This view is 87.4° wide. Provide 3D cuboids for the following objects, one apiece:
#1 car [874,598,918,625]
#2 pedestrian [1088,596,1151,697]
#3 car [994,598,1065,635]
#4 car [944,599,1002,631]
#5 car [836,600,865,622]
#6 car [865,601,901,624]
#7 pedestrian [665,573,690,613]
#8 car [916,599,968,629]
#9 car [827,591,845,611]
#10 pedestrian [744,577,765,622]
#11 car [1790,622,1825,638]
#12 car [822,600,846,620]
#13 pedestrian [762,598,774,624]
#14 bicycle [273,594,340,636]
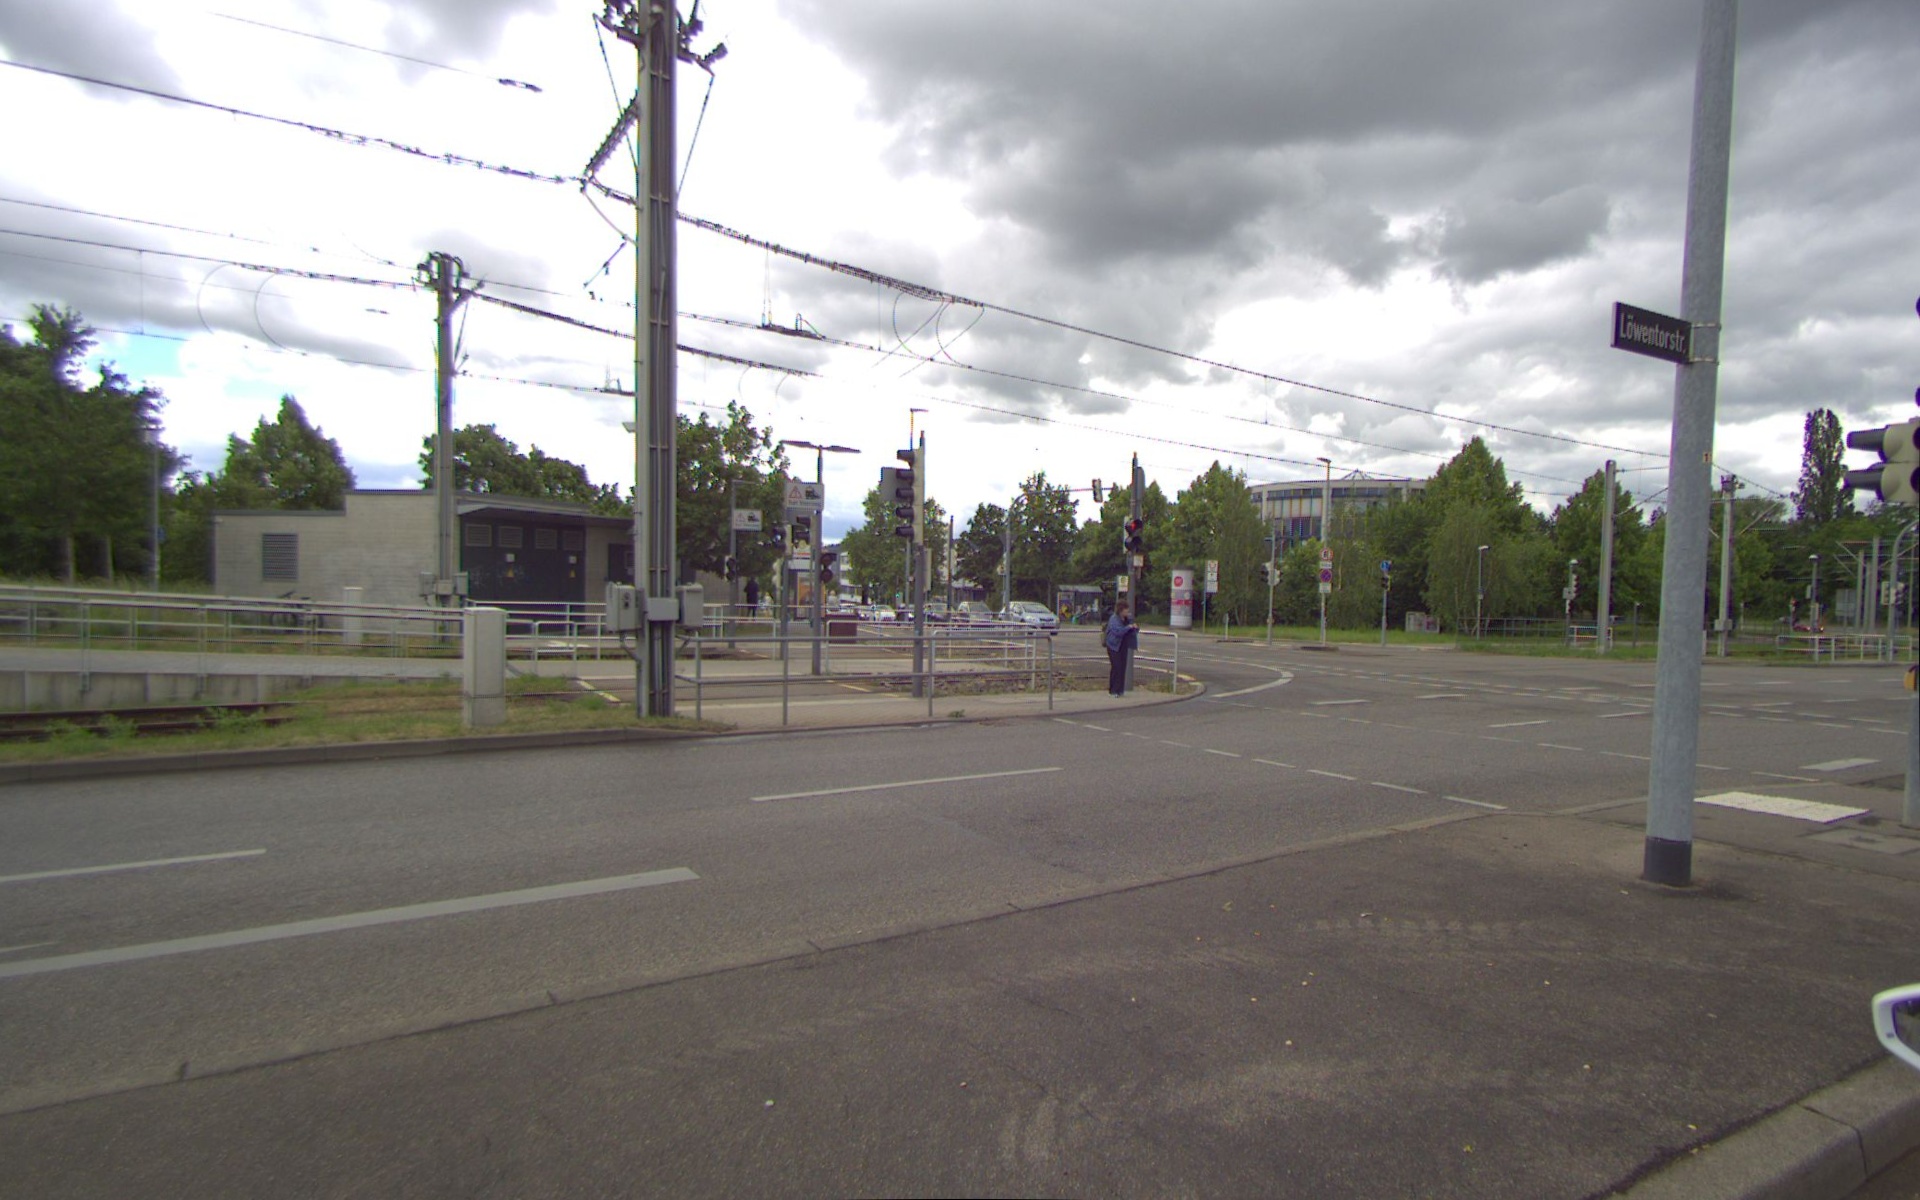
[{"bbox_3d":[-4.157,0.695,64.577,1.776,1.617,3.982,2,0,-20],"label":"car"},{"bbox_3d":[2.546,0.732,16.040,0.712,1.557,0.630,2,0,-33],"label":"pedestrian"},{"bbox_3d":[3.189,0.732,46.900,1.848,1.617,3.982,2,0,-20],"label":"car"},{"bbox_3d":[0.659,0.792,53.867,1.776,1.617,3.982,2,0,-20],"label":"car"},{"bbox_3d":[-9.466,0.925,86.635,1.869,1.805,3.988,1,0,-14],"label":"car"},{"bbox_3d":[-5.772,0.922,74.900,1.775,1.617,3.985,2,0,-17],"label":"car"},{"bbox_3d":[-9.887,-0.245,35.174,0.590,1.377,0.616,2,0,18],"label":"pedestrian"},{"bbox_3d":[-1.071,0.759,58.040,1.776,1.617,3.982,2,0,-20],"label":"car"},{"bbox_3d":[-14.619,0.095,118.109,1.964,2.218,5.800,1,0,-9],"label":"car"},{"bbox_3d":[-8.322,-0.017,40.644,0.700,1.751,0.674,2,0,-19],"label":"pedestrian"},{"bbox_3d":[101.343,3.597,120.199,1.840,1.815,4.000,2,0,20],"label":"car"},{"bbox_3d":[-11.853,0.889,94.215,1.869,1.805,3.990,1,0,-13],"label":"car"},{"bbox_3d":[-12.001,0.691,62.818,0.633,1.557,0.521,2,0,-2],"label":"pedestrian"},{"bbox_3d":[-17.376,0.393,26.704,1.778,1.045,0.536,2,0,21],"label":"bicycle"}]
